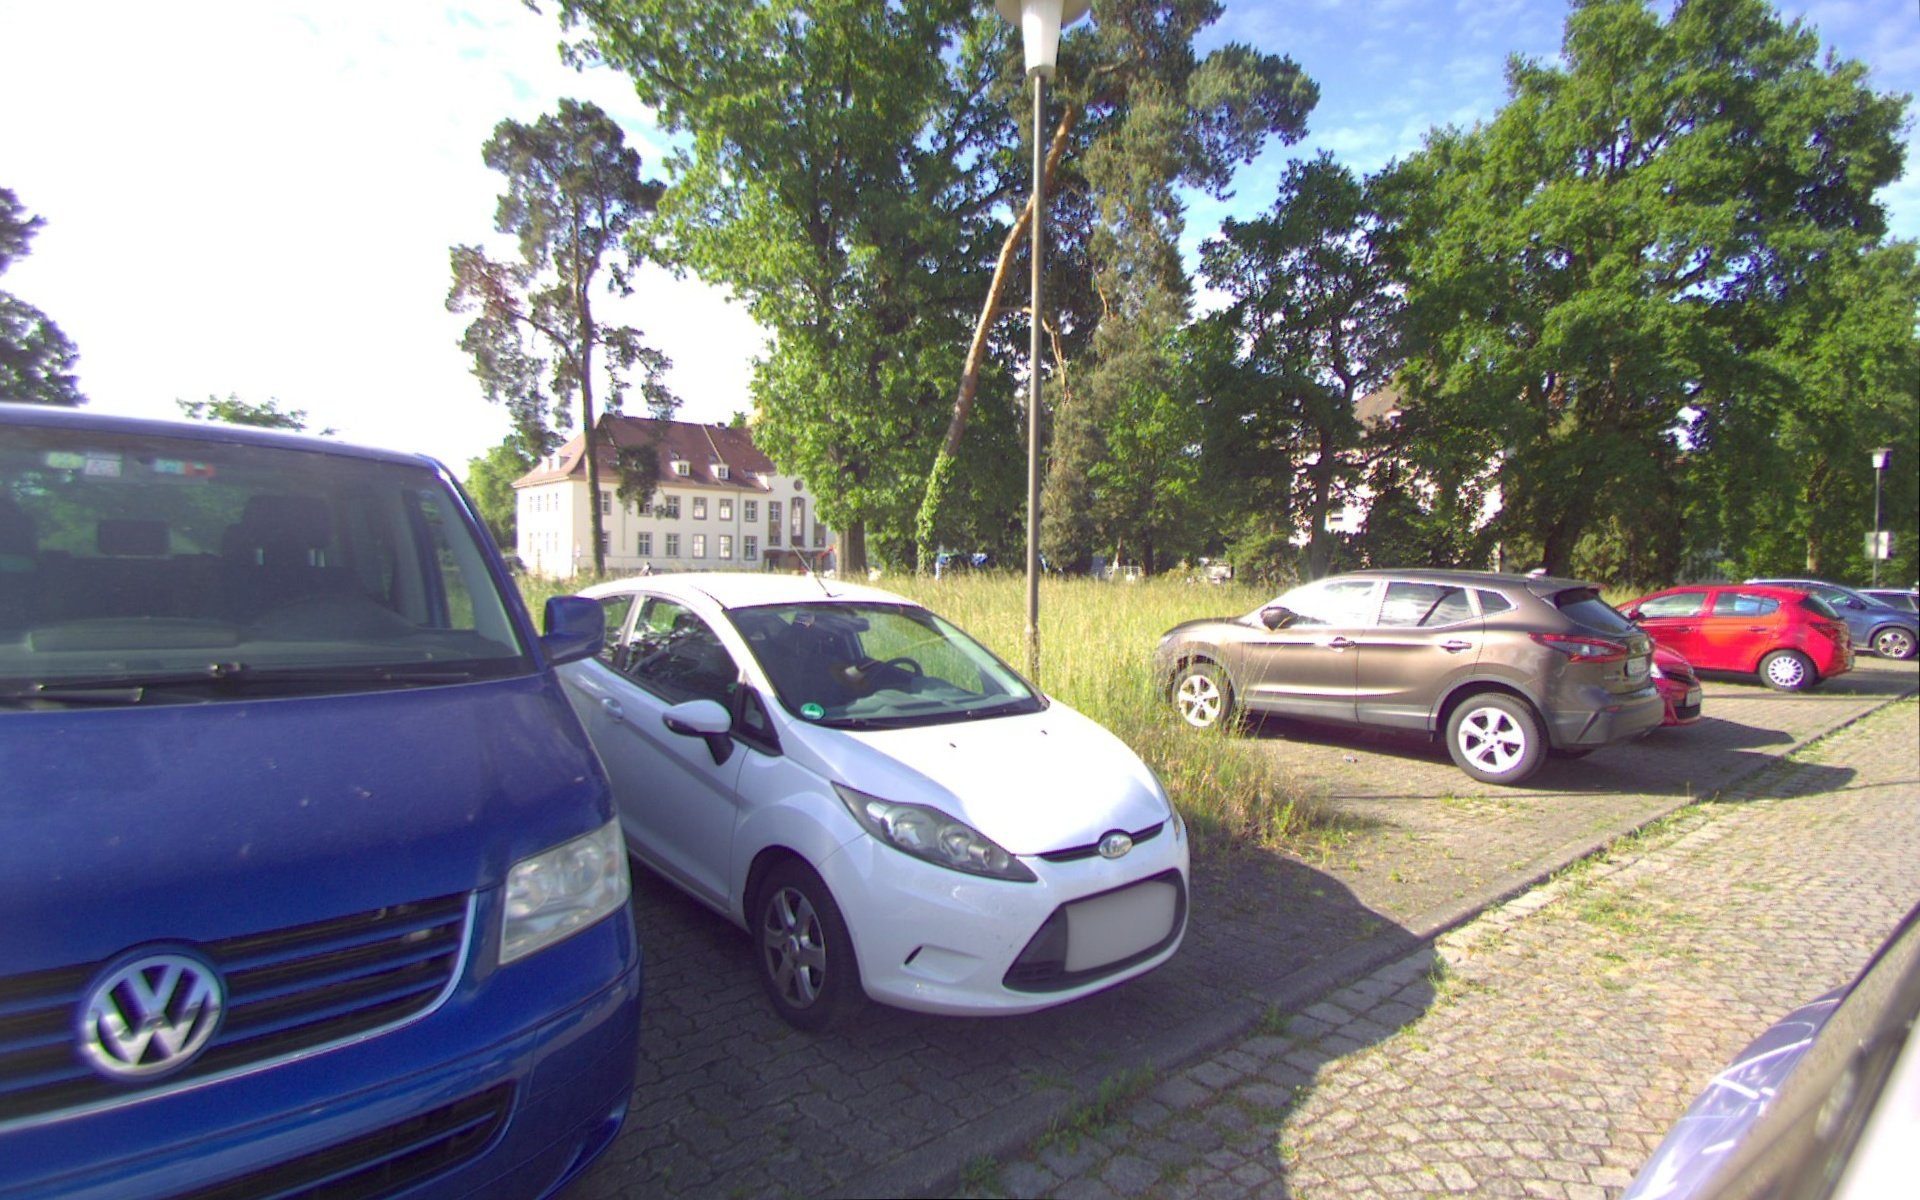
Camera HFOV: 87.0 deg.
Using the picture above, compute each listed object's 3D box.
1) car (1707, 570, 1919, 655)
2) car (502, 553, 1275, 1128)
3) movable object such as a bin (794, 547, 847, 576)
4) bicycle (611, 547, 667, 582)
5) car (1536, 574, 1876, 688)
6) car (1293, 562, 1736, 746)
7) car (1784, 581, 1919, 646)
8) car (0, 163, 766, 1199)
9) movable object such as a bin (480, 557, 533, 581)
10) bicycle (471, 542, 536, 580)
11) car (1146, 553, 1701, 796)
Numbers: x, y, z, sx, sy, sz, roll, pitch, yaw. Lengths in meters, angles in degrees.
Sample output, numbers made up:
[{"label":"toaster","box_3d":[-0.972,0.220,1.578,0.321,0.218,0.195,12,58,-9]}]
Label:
[{"label":"car","box_3d":[19.178,0.221,22.141,1.622,1.618,4.272,-1,3,-40]},{"label":"car","box_3d":[-0.664,0.583,4.656,1.582,1.484,3.727,0,3,-42]},{"label":"movable object such as a bin","box_3d":[-14.524,-4.028,105.379,4.975,2.937,2.182,0,2,-33]},{"label":"bicycle","box_3d":[-19.265,-2.159,60.844,3.078,2.038,0.952,-3,3,-42]},{"label":"car","box_3d":[11.395,0.369,15.695,1.513,1.514,3.995,-1,2,-40]},{"label":"car","box_3d":[5.794,0.412,10.964,1.673,1.557,3.835,0,3,-39]},{"label":"car","box_3d":[22.937,0.310,24.945,1.716,1.484,3.809,-1,2,-39]},{"label":"car","box_3d":[-2.674,0.299,3.256,1.964,2.038,4.767,0,4,-39]},{"label":"movable object such as a bin","box_3d":[-40.354,-2.770,89.916,5.713,2.038,2.092,3,2,41]},{"label":"bicycle","box_3d":[-25.381,-2.202,56.315,3.078,2.038,0.952,-3,3,-42]},{"label":"car","box_3d":[3.845,0.426,8.991,1.755,1.631,4.114,-1,3,-41]}]
